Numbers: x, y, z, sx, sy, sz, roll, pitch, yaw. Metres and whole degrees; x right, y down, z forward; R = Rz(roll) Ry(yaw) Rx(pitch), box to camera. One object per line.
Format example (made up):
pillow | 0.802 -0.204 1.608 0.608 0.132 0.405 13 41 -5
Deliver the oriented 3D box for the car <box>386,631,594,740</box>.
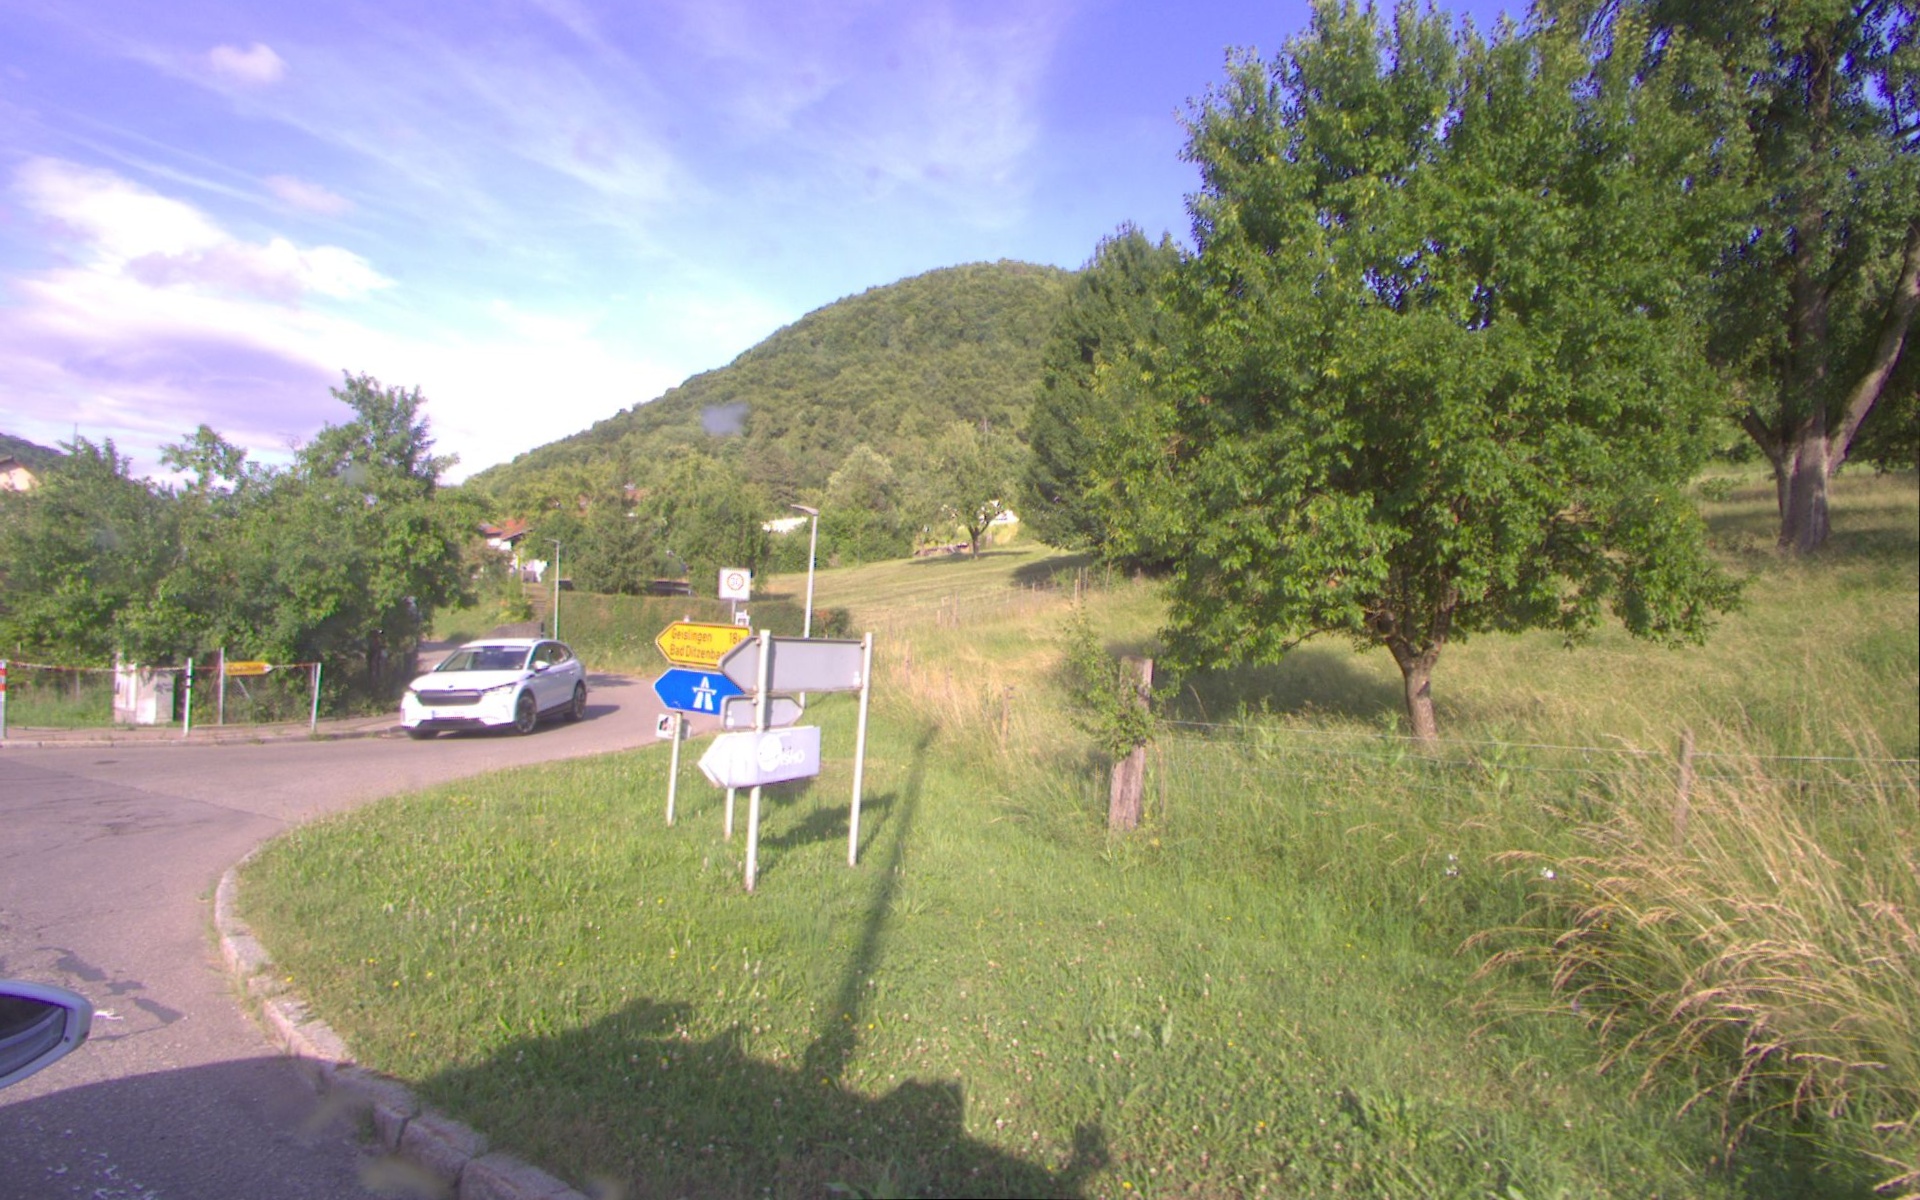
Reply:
car | -8.132 1.405 17.853 1.837 1.631 4.572 1 -1 -5
